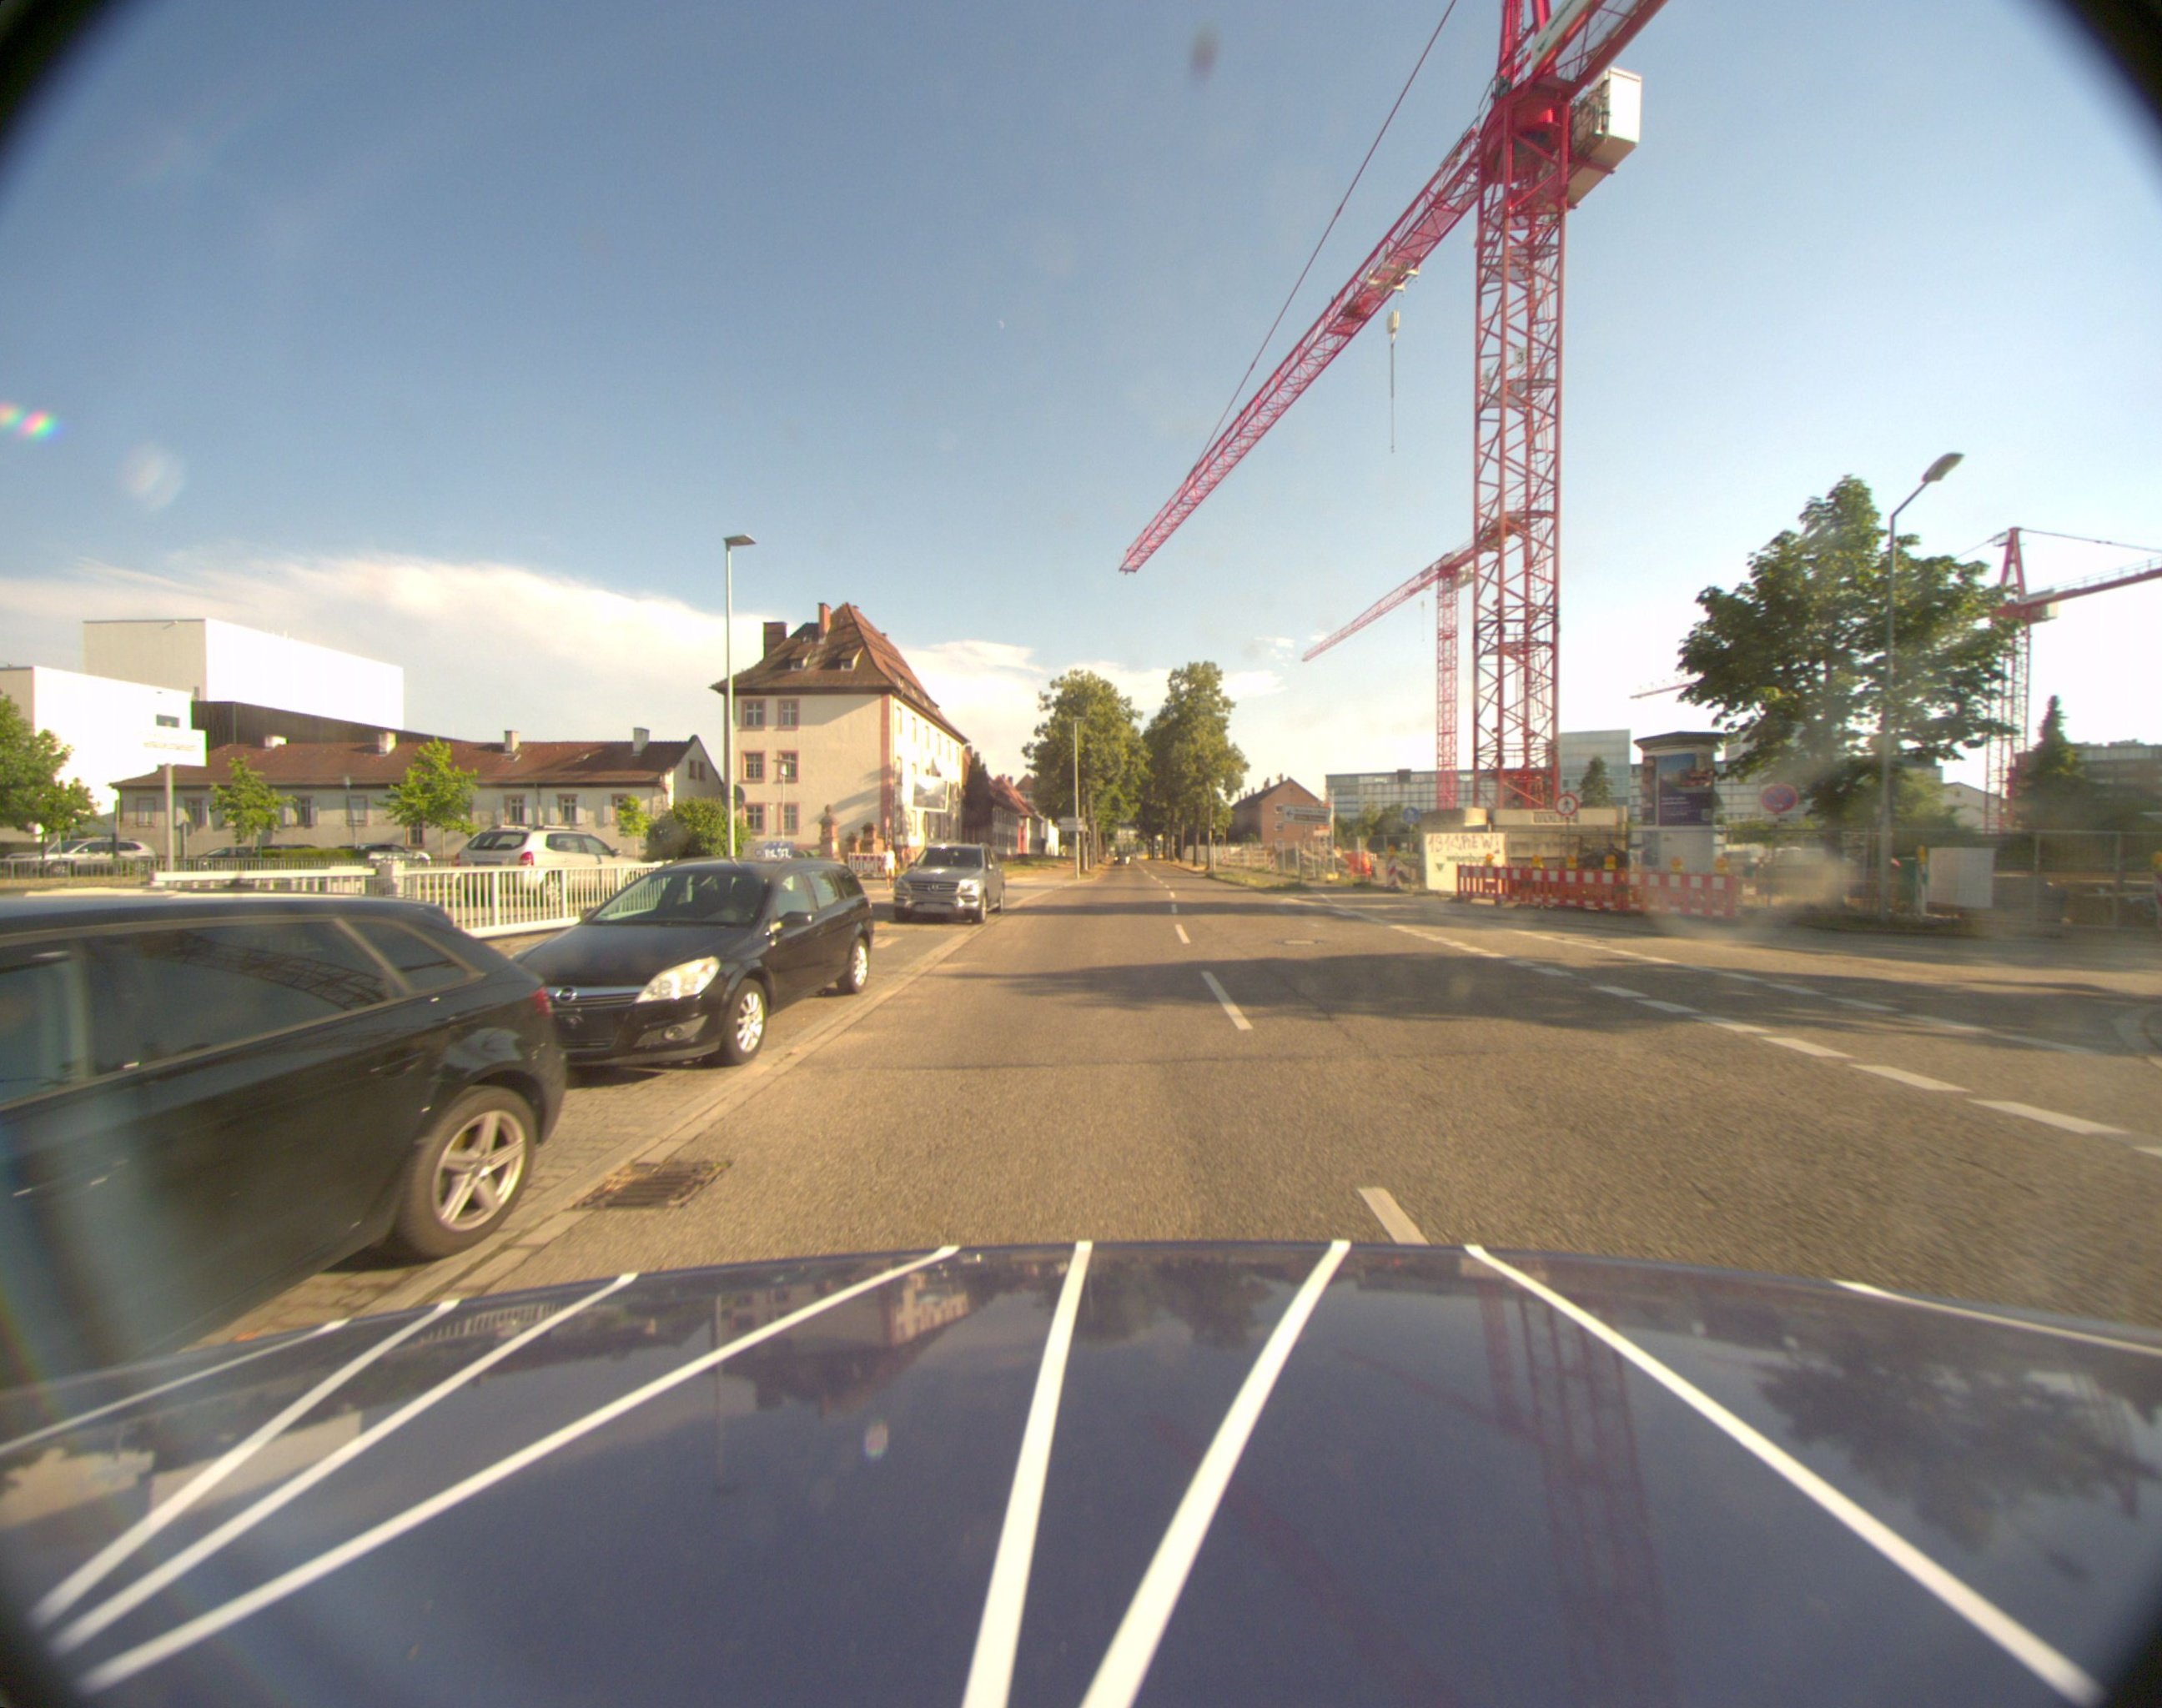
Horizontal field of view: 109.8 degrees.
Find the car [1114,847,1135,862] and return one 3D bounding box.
[{"bbox_3d":[4.666,0.068,82.279,1.776,1.492,3.672,-1,0,-4],"label":"car"}]

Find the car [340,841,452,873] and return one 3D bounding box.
[{"bbox_3d":[-41.463,0.130,46.202,1.998,1.703,4.972,-2,1,4],"label":"car"}]

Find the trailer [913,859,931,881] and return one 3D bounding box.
[{"bbox_3d":[-7.903,0.780,37.757,0.483,1.060,1.267,-2,1,5],"label":"trailer"}]

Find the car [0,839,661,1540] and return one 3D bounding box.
[{"bbox_3d":[-3.309,0.733,1.725,1.906,1.521,4.810,0,1,2],"label":"car"}]

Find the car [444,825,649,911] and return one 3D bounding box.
[{"bbox_3d":[-11.794,0.241,17.142,1.657,1.652,3.999,-2,1,1],"label":"car"}]

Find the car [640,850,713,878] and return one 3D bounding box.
[{"bbox_3d":[-23.490,0.544,44.293,1.998,1.445,3.999,-2,1,1],"label":"car"}]

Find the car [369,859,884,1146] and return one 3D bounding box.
[{"bbox_3d":[-3.259,0.891,6.688,1.746,1.532,4.439,1,1,2],"label":"car"}]

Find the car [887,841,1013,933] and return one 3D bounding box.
[{"bbox_3d":[-2.905,0.637,18.000,1.926,1.769,4.810,3,1,2],"label":"car"}]

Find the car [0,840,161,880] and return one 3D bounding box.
[{"bbox_3d":[-44.291,0.230,33.650,1.998,1.609,4.001,-2,1,5],"label":"car"}]
